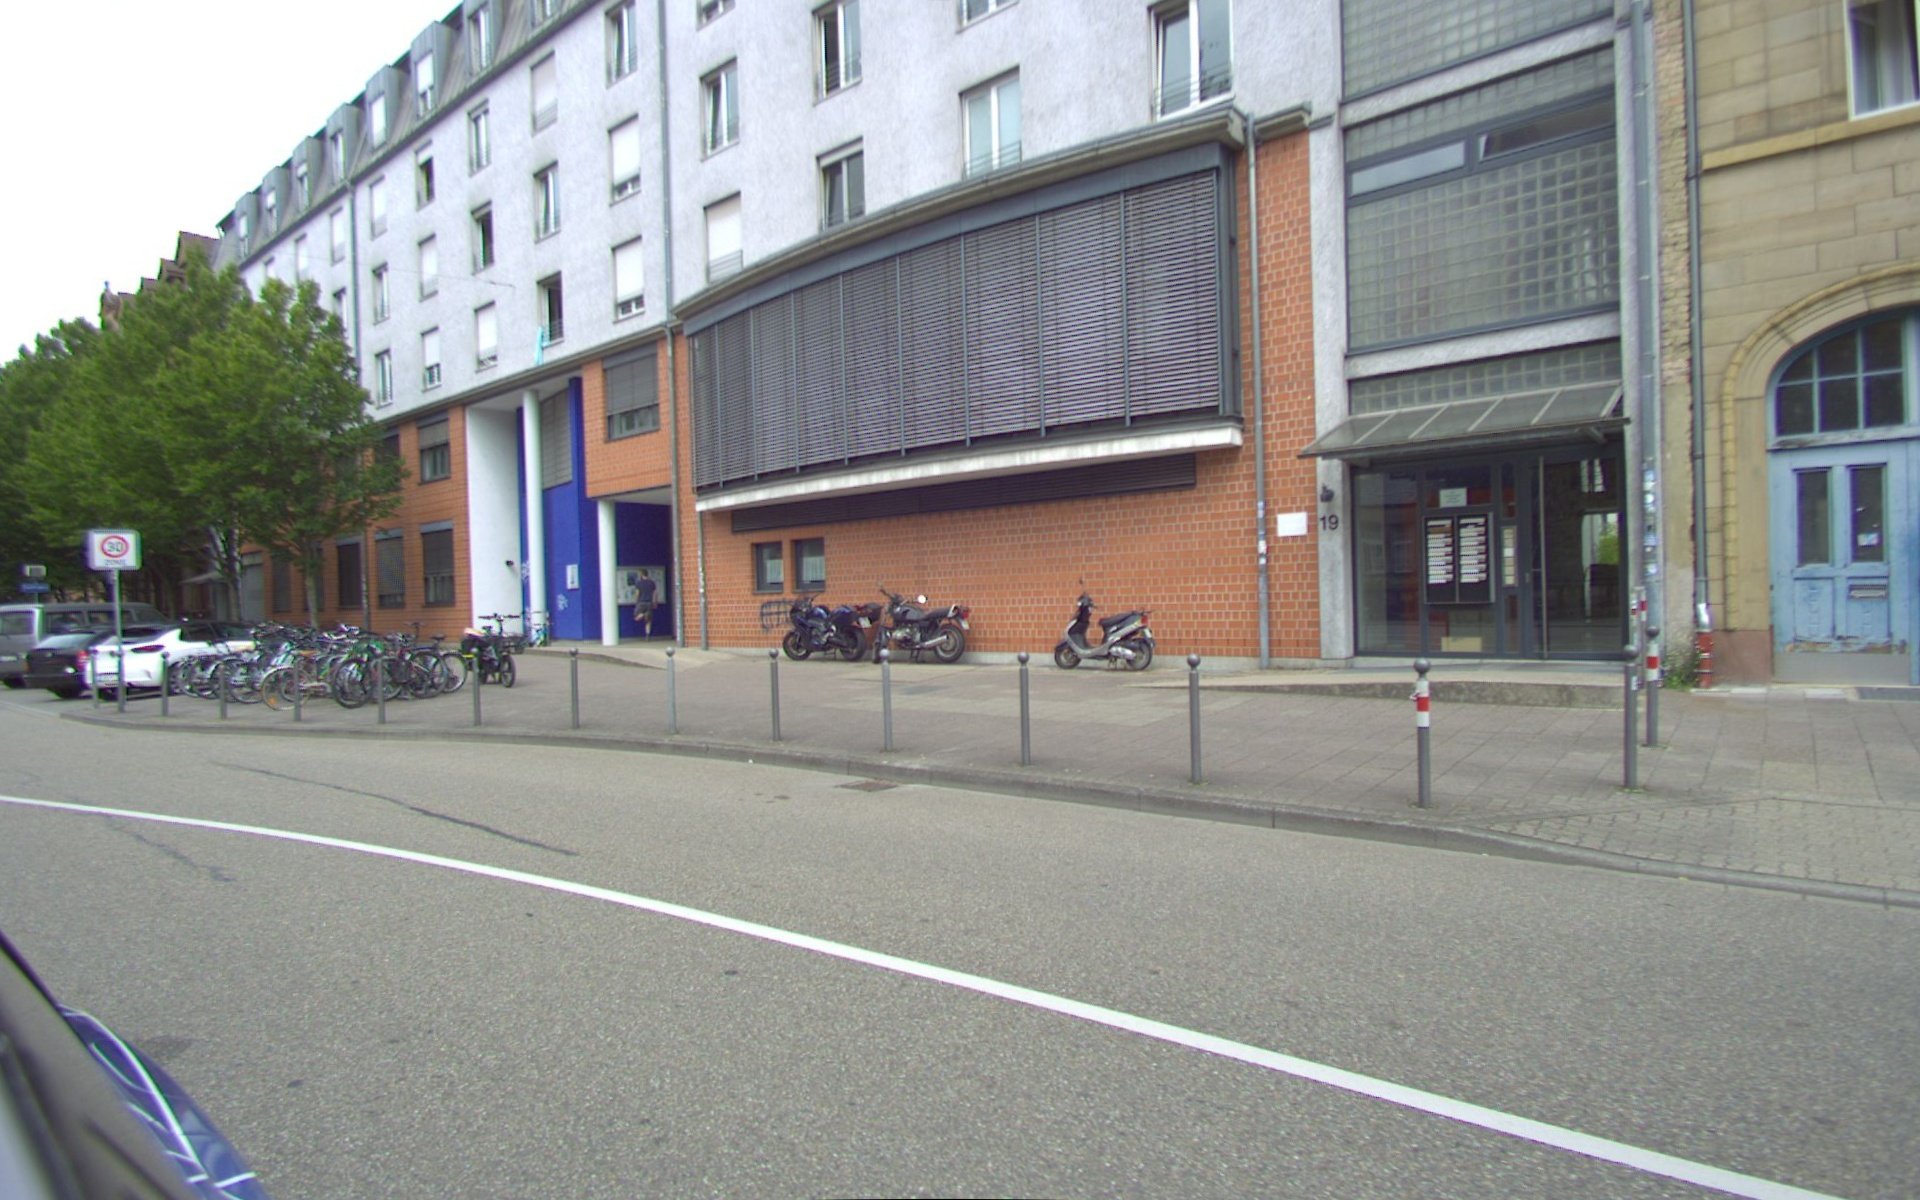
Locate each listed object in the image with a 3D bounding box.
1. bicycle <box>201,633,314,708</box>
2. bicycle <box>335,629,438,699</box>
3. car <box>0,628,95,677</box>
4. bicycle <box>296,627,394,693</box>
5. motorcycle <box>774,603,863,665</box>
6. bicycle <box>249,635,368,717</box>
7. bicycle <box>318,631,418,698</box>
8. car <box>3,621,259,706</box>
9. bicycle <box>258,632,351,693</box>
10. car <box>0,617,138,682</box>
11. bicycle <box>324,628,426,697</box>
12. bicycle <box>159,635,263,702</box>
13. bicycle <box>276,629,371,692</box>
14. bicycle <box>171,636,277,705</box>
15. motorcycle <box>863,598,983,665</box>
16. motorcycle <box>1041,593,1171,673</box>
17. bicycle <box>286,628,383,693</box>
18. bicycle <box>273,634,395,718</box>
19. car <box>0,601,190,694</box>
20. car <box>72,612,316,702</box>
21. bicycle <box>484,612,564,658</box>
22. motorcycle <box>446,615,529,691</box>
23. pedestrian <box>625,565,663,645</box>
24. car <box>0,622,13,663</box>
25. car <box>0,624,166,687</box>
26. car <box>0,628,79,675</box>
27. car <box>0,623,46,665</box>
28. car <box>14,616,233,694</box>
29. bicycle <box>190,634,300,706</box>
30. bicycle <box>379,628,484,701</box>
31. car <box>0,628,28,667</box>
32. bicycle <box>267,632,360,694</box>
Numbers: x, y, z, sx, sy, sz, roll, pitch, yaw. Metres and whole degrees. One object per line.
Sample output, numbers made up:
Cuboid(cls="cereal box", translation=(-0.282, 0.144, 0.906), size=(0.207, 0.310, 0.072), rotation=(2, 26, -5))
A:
Cuboid(cls="bicycle", translation=(-11.363, 1.121, 16.400), size=(0.401, 1.046, 1.391), rotation=(-2, 3, 42))
Cuboid(cls="bicycle", translation=(-9.400, 1.028, 16.616), size=(0.401, 1.034, 1.391), rotation=(-2, 1, 42))
Cuboid(cls="car", translation=(-30.519, 1.718, 32.608), size=(1.577, 1.400, 3.998), rotation=(-2, 0, 6))
Cuboid(cls="bicycle", translation=(-10.802, 1.036, 17.805), size=(0.401, 1.034, 1.391), rotation=(-2, 1, 42))
Cuboid(cls="motorcycle", translation=(-2.593, 0.614, 18.461), size=(1.655, 1.056, 0.578), rotation=(-2, 1, 39))
Cuboid(cls="bicycle", translation=(-9.761, 1.113, 15.198), size=(0.401, 1.046, 1.391), rotation=(-2, 3, 42))
Cuboid(cls="bicycle", translation=(-10.122, 1.084, 17.344), size=(0.401, 1.034, 1.391), rotation=(-2, 1, 42))
Cuboid(cls="car", translation=(-17.615, 1.284, 21.825), size=(1.696, 1.480, 4.309), rotation=(-2, 0, 6))
Cuboid(cls="bicycle", translation=(-12.478, 1.173, 19.295), size=(0.401, 1.034, 1.391), rotation=(-2, 1, 42))
Cuboid(cls="car", translation=(-26.265, 1.388, 29.117), size=(1.692, 1.627, 3.998), rotation=(-2, 0, 6))
Cuboid(cls="bicycle", translation=(-9.795, 1.030, 16.980), size=(0.401, 1.034, 1.391), rotation=(-2, 1, 42))
Cuboid(cls="bicycle", translation=(-13.429, 1.205, 18.169), size=(0.401, 1.034, 1.391), rotation=(-2, 3, 42))
Cuboid(cls="bicycle", translation=(-11.679, 1.087, 18.592), size=(0.401, 1.034, 1.391), rotation=(-2, 1, 42))
Cuboid(cls="bicycle", translation=(-12.815, 1.201, 17.644), size=(0.401, 1.034, 1.391), rotation=(-2, 3, 42))
Cuboid(cls="motorcycle", translation=(-0.634, 0.539, 17.040), size=(1.958, 1.056, 0.580), rotation=(-2, 1, 29))
Cuboid(cls="motorcycle", translation=(2.068, 0.473, 14.502), size=(1.792, 1.056, 0.577), rotation=(-2, 1, 41))
Cuboid(cls="bicycle", translation=(-11.173, 1.061, 18.118), size=(0.401, 1.034, 1.391), rotation=(-2, 1, 42))
Cuboid(cls="bicycle", translation=(-9.048, 1.078, 14.661), size=(0.401, 1.046, 1.391), rotation=(-2, 3, 42))
Cuboid(cls="car", translation=(-22.046, 1.121, 25.506), size=(1.841, 2.012, 3.995), rotation=(-2, 2, 9))
Cuboid(cls="car", translation=(-15.424, 1.086, 20.671), size=(1.584, 1.557, 3.995), rotation=(-2, 0, 9))
Cuboid(cls="bicycle", translation=(-10.998, 0.873, 25.553), size=(1.591, 0.932, 0.933), rotation=(-9, 5, -38))
Cuboid(cls="motorcycle", translation=(-8.004, 0.880, 17.107), size=(1.779, 1.181, 0.577), rotation=(-2, 1, 42))
Cuboid(cls="pedestrian", translation=(-8.128, 0.128, 26.038), size=(0.718, 2.029, 0.784), rotation=(-1, 0, -31))
Cuboid(cls="car", translation=(-45.155, 1.997, 45.219), size=(1.671, 1.871, 4.037), rotation=(-2, 0, 6))
Cuboid(cls="car", translation=(-24.089, 1.463, 27.477), size=(1.605, 1.457, 3.998), rotation=(-2, 0, 6))
Cuboid(cls="car", translation=(-32.276, 1.775, 33.952), size=(1.671, 1.464, 3.998), rotation=(-2, 0, 6))
Cuboid(cls="car", translation=(-38.401, 1.786, 39.445), size=(1.671, 1.579, 3.998), rotation=(-2, 0, 6))
Cuboid(cls="car", translation=(-19.920, 1.251, 24.347), size=(1.689, 1.522, 3.999), rotation=(-2, 1, 6))
Cuboid(cls="bicycle", translation=(-11.854, 1.139, 16.812), size=(0.401, 1.034, 1.391), rotation=(-2, 3, 42))
Cuboid(cls="bicycle", translation=(-8.322, 0.993, 15.971), size=(0.401, 1.034, 1.391), rotation=(-2, 1, 42))
Cuboid(cls="car", translation=(-40.490, 2.020, 40.936), size=(1.671, 1.579, 3.998), rotation=(-2, 0, 6))
Cuboid(cls="bicycle", translation=(-12.114, 1.160, 18.989), size=(0.401, 1.034, 1.391), rotation=(-2, 1, 42))
